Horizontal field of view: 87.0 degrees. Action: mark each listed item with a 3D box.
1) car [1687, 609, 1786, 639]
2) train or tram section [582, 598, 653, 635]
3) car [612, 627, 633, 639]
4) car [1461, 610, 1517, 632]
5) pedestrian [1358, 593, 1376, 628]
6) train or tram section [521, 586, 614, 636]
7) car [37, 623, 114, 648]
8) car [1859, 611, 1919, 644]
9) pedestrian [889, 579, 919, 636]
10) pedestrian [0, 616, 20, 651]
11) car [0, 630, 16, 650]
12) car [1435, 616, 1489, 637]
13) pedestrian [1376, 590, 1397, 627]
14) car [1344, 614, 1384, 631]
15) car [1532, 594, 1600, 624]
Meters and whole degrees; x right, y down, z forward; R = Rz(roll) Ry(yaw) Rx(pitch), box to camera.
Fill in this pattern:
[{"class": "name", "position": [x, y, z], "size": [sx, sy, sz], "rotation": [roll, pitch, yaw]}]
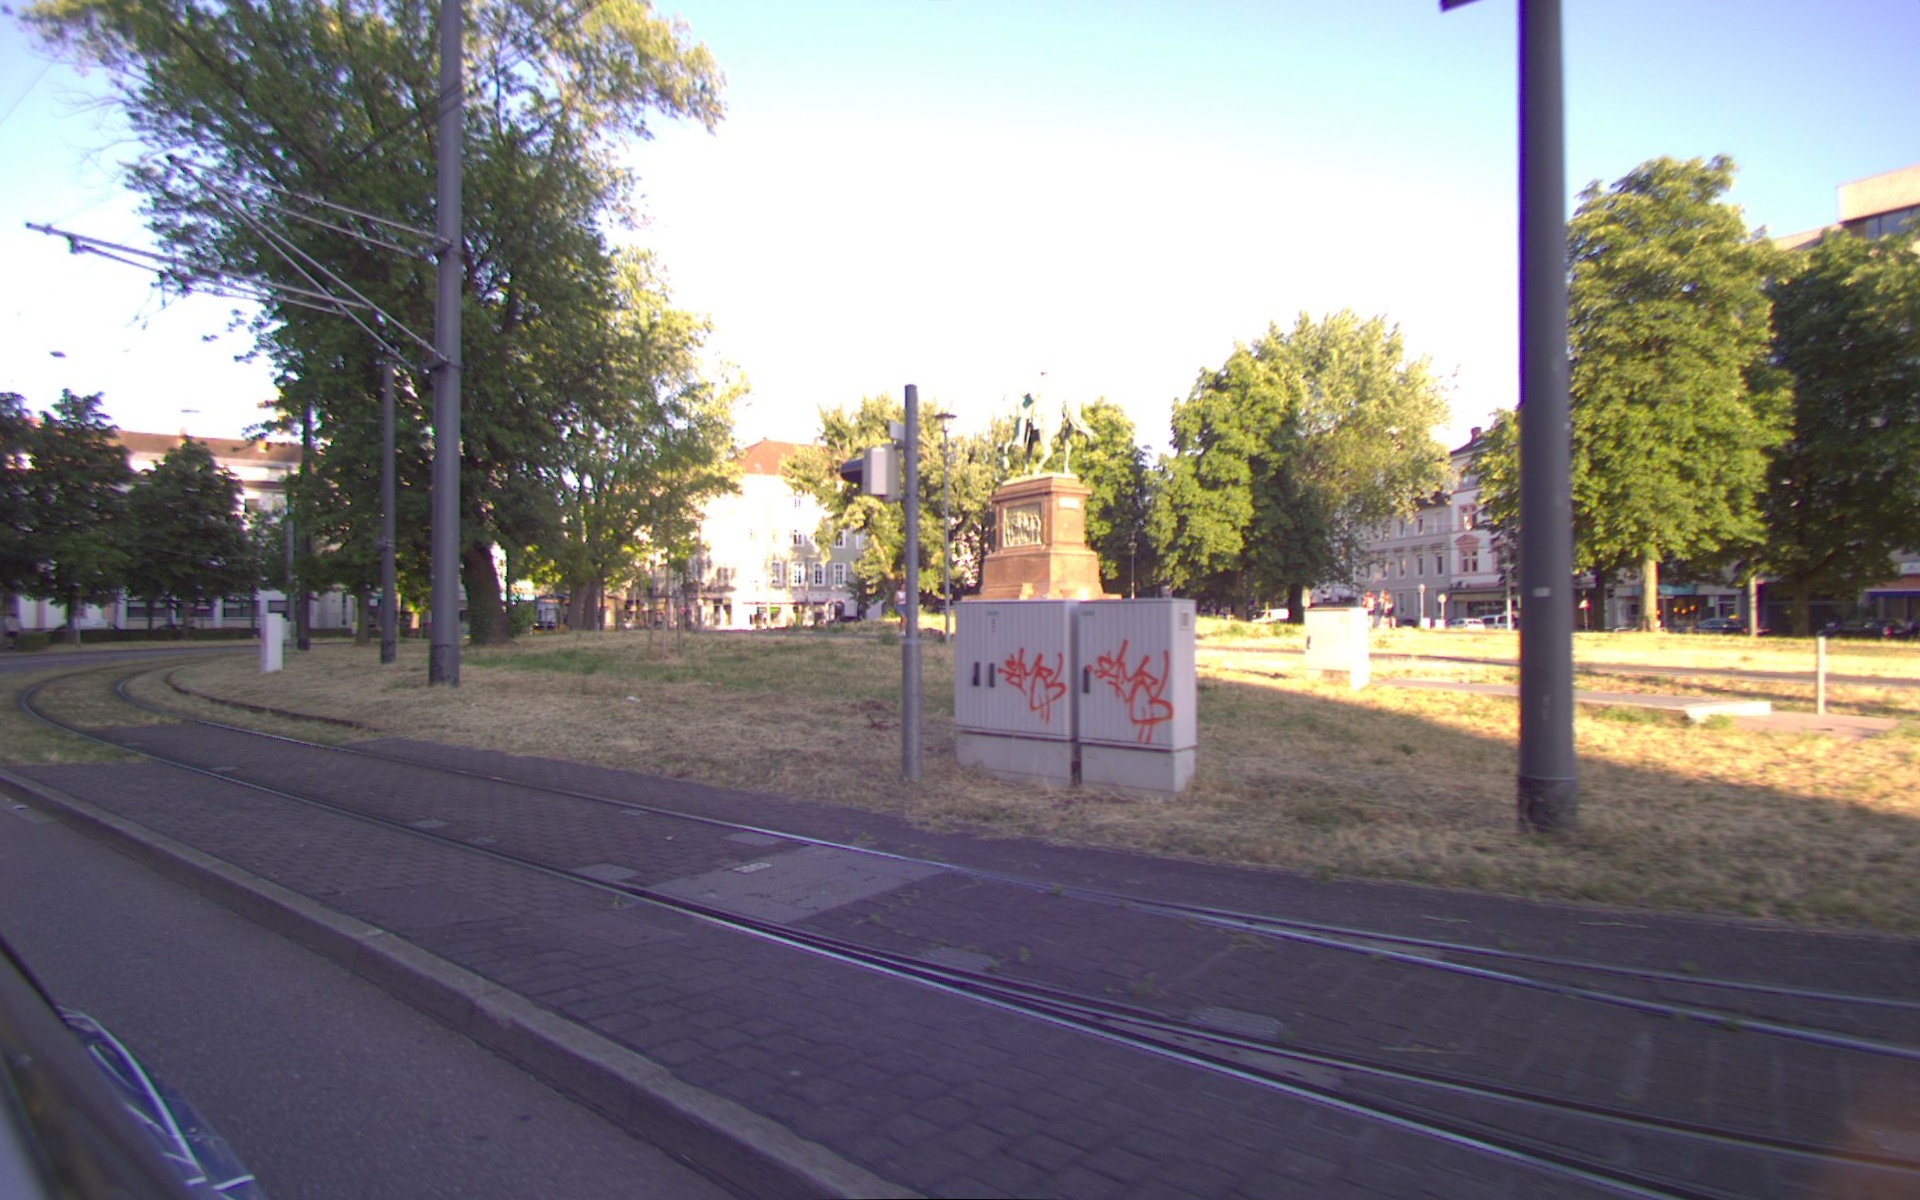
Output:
[{"class": "car", "position": [42.745, 1.366, 55.851], "size": [1.835, 1.568, 4.077], "rotation": [0, -2, -11]}, {"class": "train or tram section", "position": [-31.483, 1.478, 93.658], "size": [2.888, 3.165, 12.866], "rotation": [-1, -1, -3]}, {"class": "car", "position": [-43.345, 4.256, 130.044], "size": [1.695, 1.564, 3.978], "rotation": [1, -3, -33]}, {"class": "car", "position": [41.555, 1.668, 79.597], "size": [1.731, 1.676, 4.008], "rotation": [0, -2, -11]}, {"class": "pedestrian", "position": [17.831, 0.458, 44.339], "size": [0.446, 1.524, 0.555], "rotation": [1, -3, -31]}, {"class": "train or tram section", "position": [-30.960, 0.883, 80.607], "size": [2.907, 3.611, 13.375], "rotation": [-1, -1, -3]}, {"class": "car", "position": [-63.300, 2.554, 72.502], "size": [3.947, 1.738, 1.706], "rotation": [1, -3, -35]}, {"class": "car", "position": [47.058, 1.349, 49.641], "size": [1.835, 1.568, 4.077], "rotation": [0, -2, -11]}, {"class": "pedestrian", "position": [-1.721, 0.241, 30.968], "size": [0.836, 1.703, 0.469], "rotation": [-2, -2, 43]}, {"class": "pedestrian", "position": [-47.322, 1.675, 50.147], "size": [0.777, 1.729, 0.766], "rotation": [-1, -2, 11]}, {"class": "car", "position": [-67.512, 2.783, 69.493], "size": [3.720, 1.346, 1.732], "rotation": [1, -3, -35]}, {"class": "car", "position": [38.699, 2.061, 78.090], "size": [1.769, 1.592, 4.006], "rotation": [-1, -2, -7]}, {"class": "pedestrian", "position": [18.666, 0.373, 44.262], "size": [0.609, 1.593, 0.555], "rotation": [1, -3, -31]}, {"class": "car", "position": [38.800, 2.194, 97.278], "size": [1.769, 1.592, 4.006], "rotation": [-1, -2, -7]}, {"class": "car", "position": [42.869, 0.680, 71.694], "size": [1.731, 1.959, 4.218], "rotation": [0, -2, -11]}]
